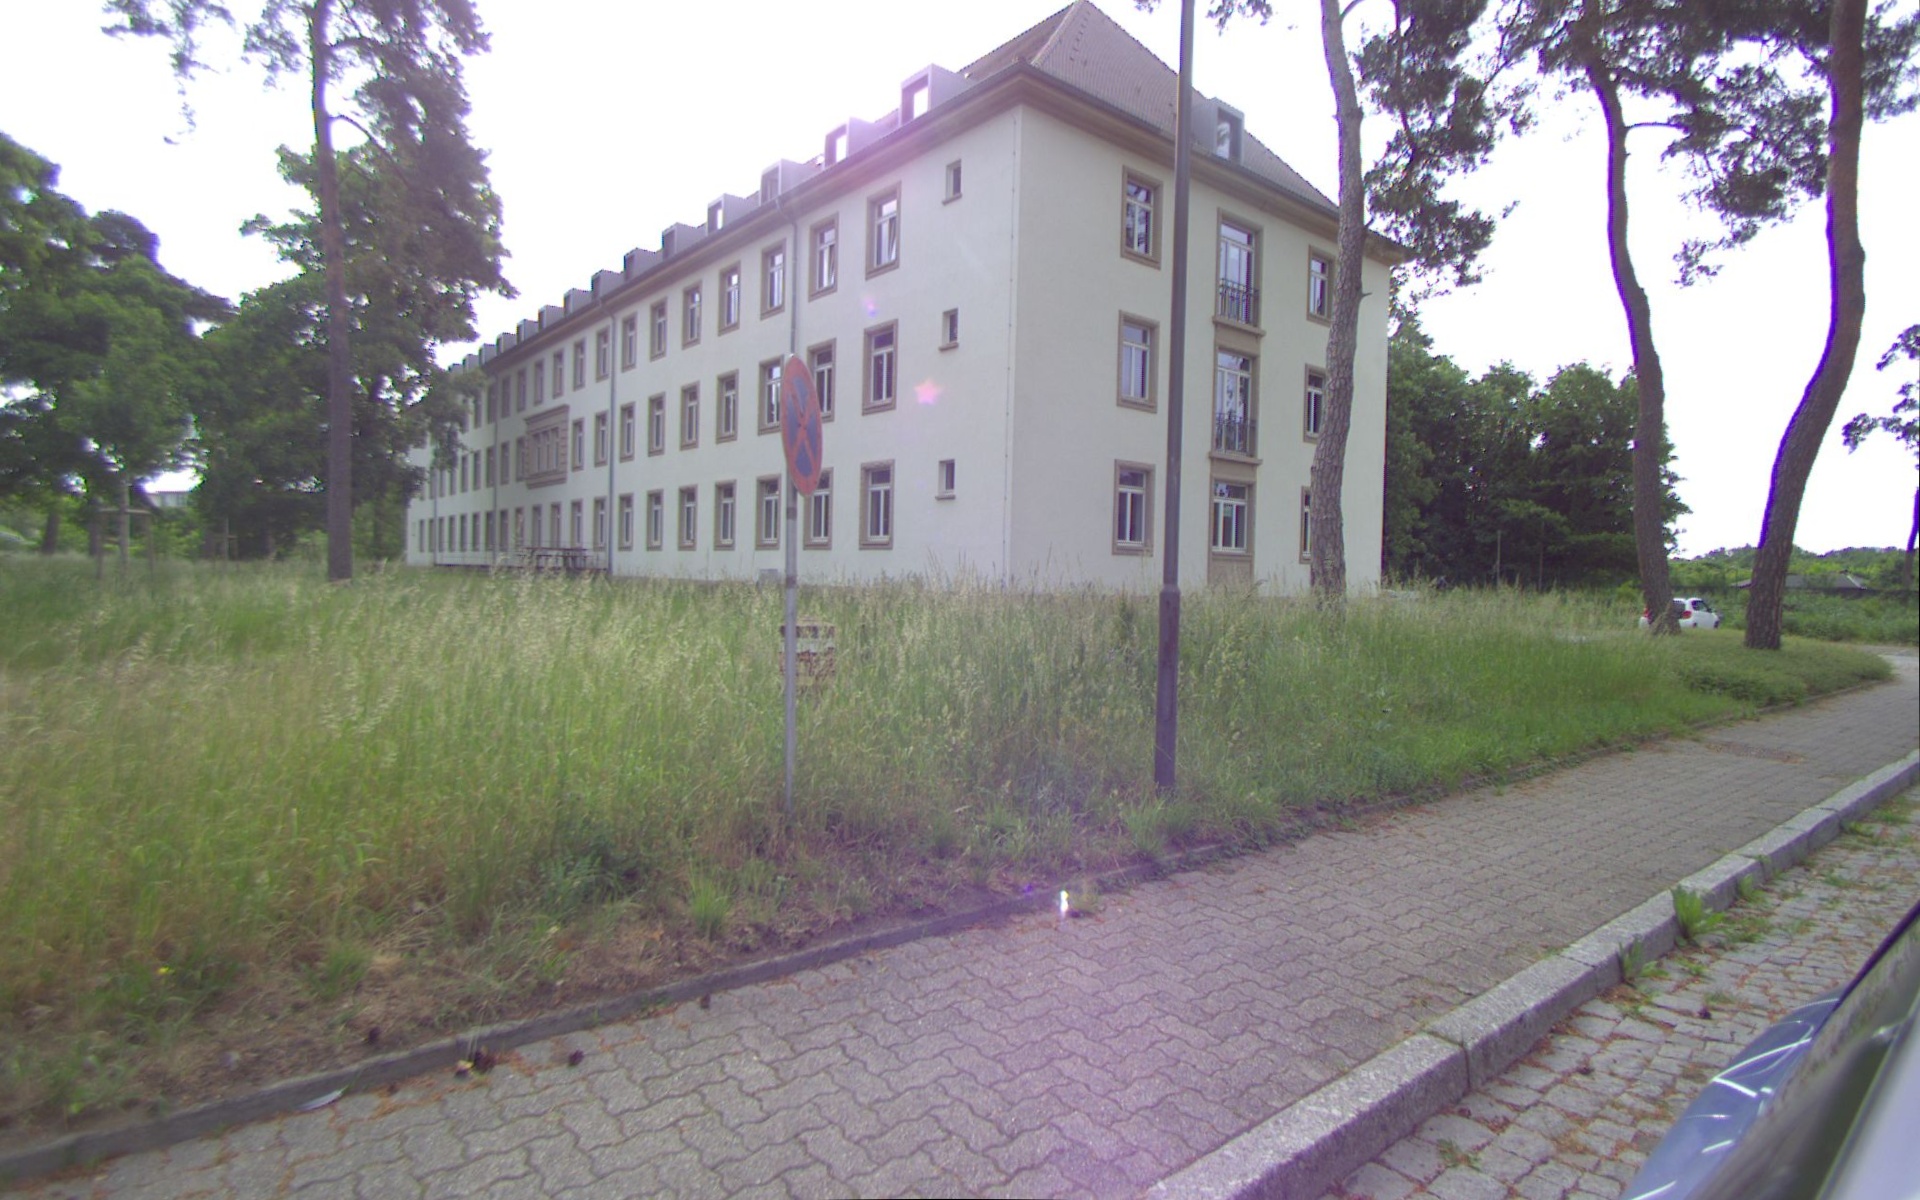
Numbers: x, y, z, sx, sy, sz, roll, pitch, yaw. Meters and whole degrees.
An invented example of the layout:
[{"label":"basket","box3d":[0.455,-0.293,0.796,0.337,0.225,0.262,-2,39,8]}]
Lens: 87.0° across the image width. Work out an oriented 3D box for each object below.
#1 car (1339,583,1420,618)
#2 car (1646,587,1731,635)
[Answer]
[{"label":"car","box3d":[18.357,-0.009,44.251,3.929,1.344,1.640,-2,3,-40]},{"label":"car","box3d":[25.653,0.349,35.625,3.220,1.451,1.641,-3,3,-39]}]
